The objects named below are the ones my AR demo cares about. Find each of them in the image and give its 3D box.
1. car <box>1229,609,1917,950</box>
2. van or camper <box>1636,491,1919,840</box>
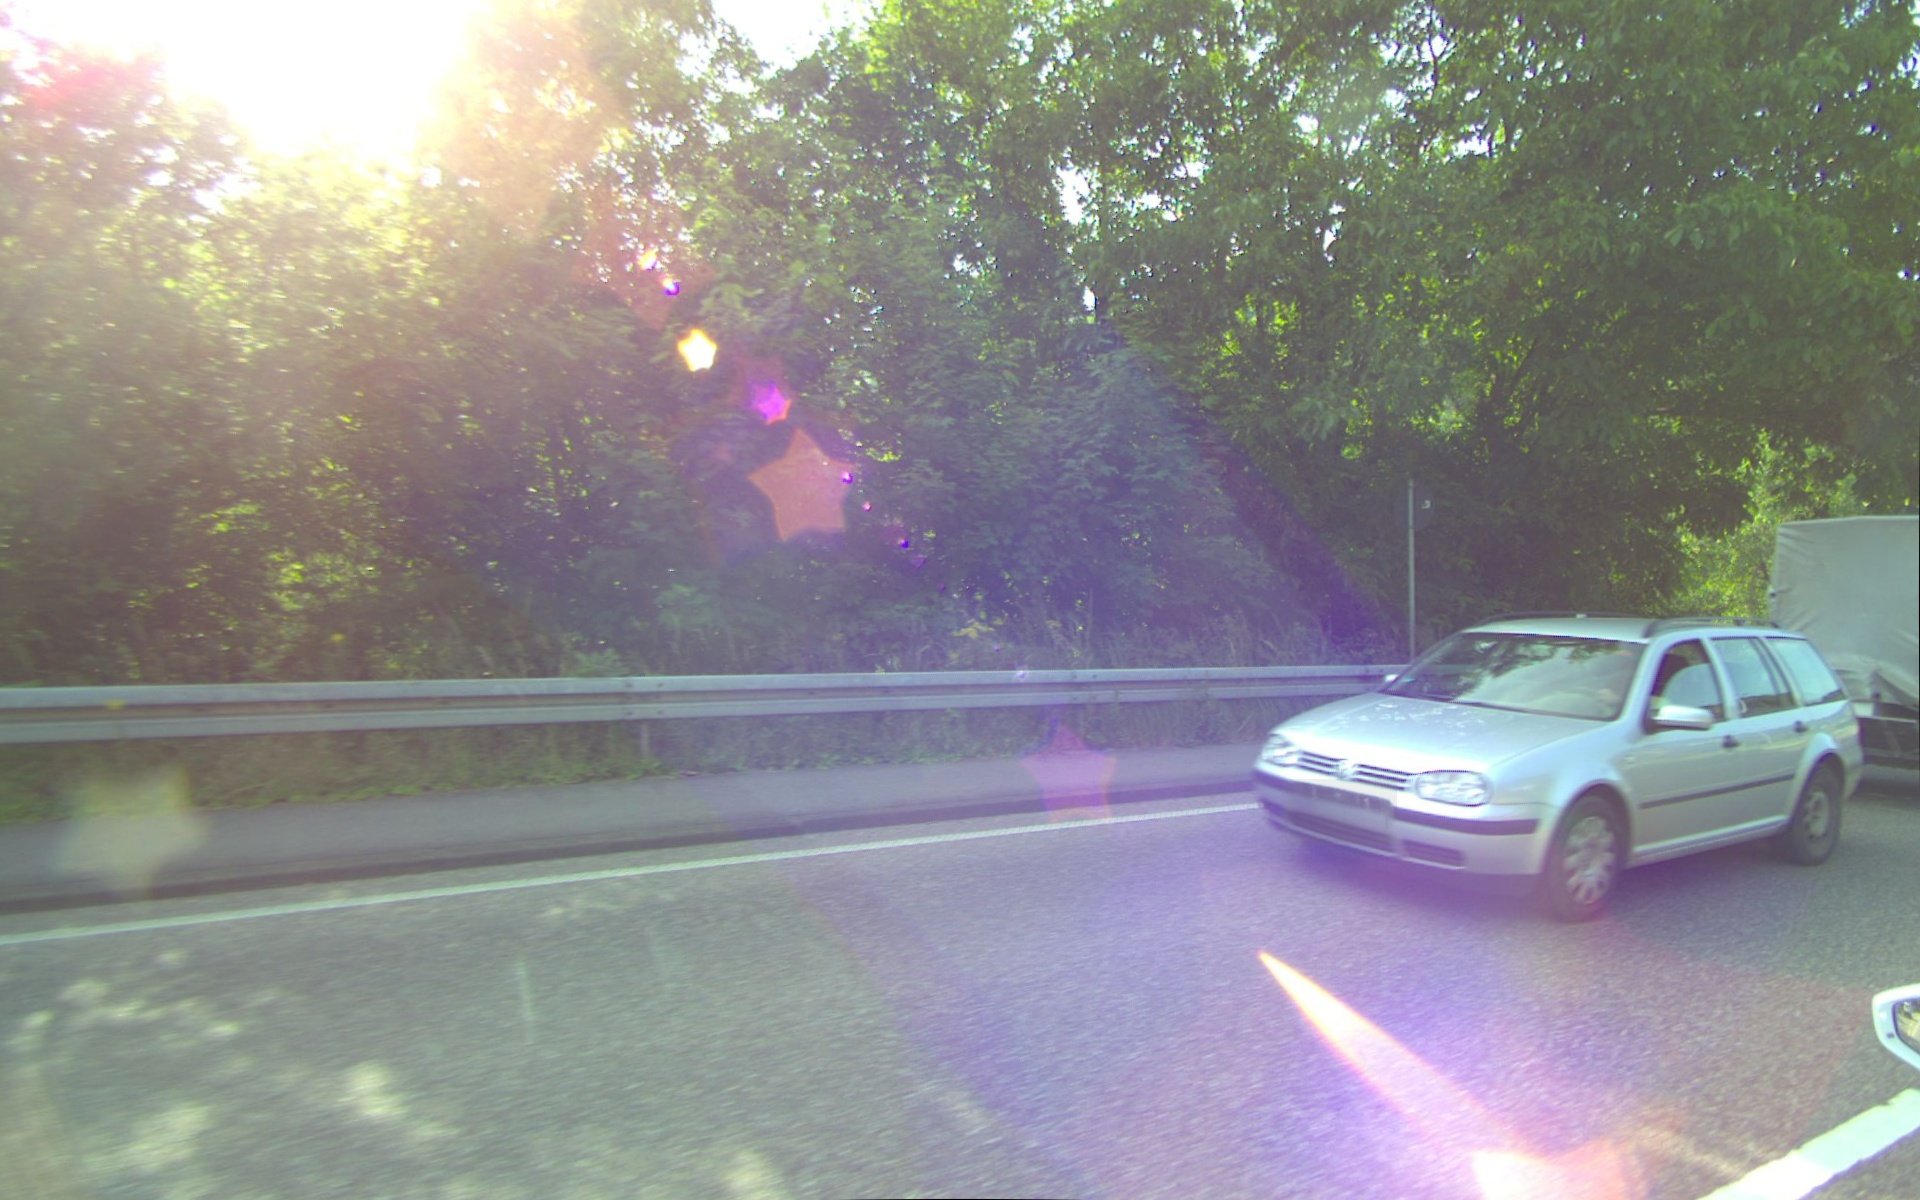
[{"bbox_3d":[3.951,0.831,6.252,4.550,1.456,1.641,1,1,-30],"label":"car"},{"bbox_3d":[7.667,0.460,8.473,4.010,2.360,1.595,1,1,-30],"label":"van or camper"}]
